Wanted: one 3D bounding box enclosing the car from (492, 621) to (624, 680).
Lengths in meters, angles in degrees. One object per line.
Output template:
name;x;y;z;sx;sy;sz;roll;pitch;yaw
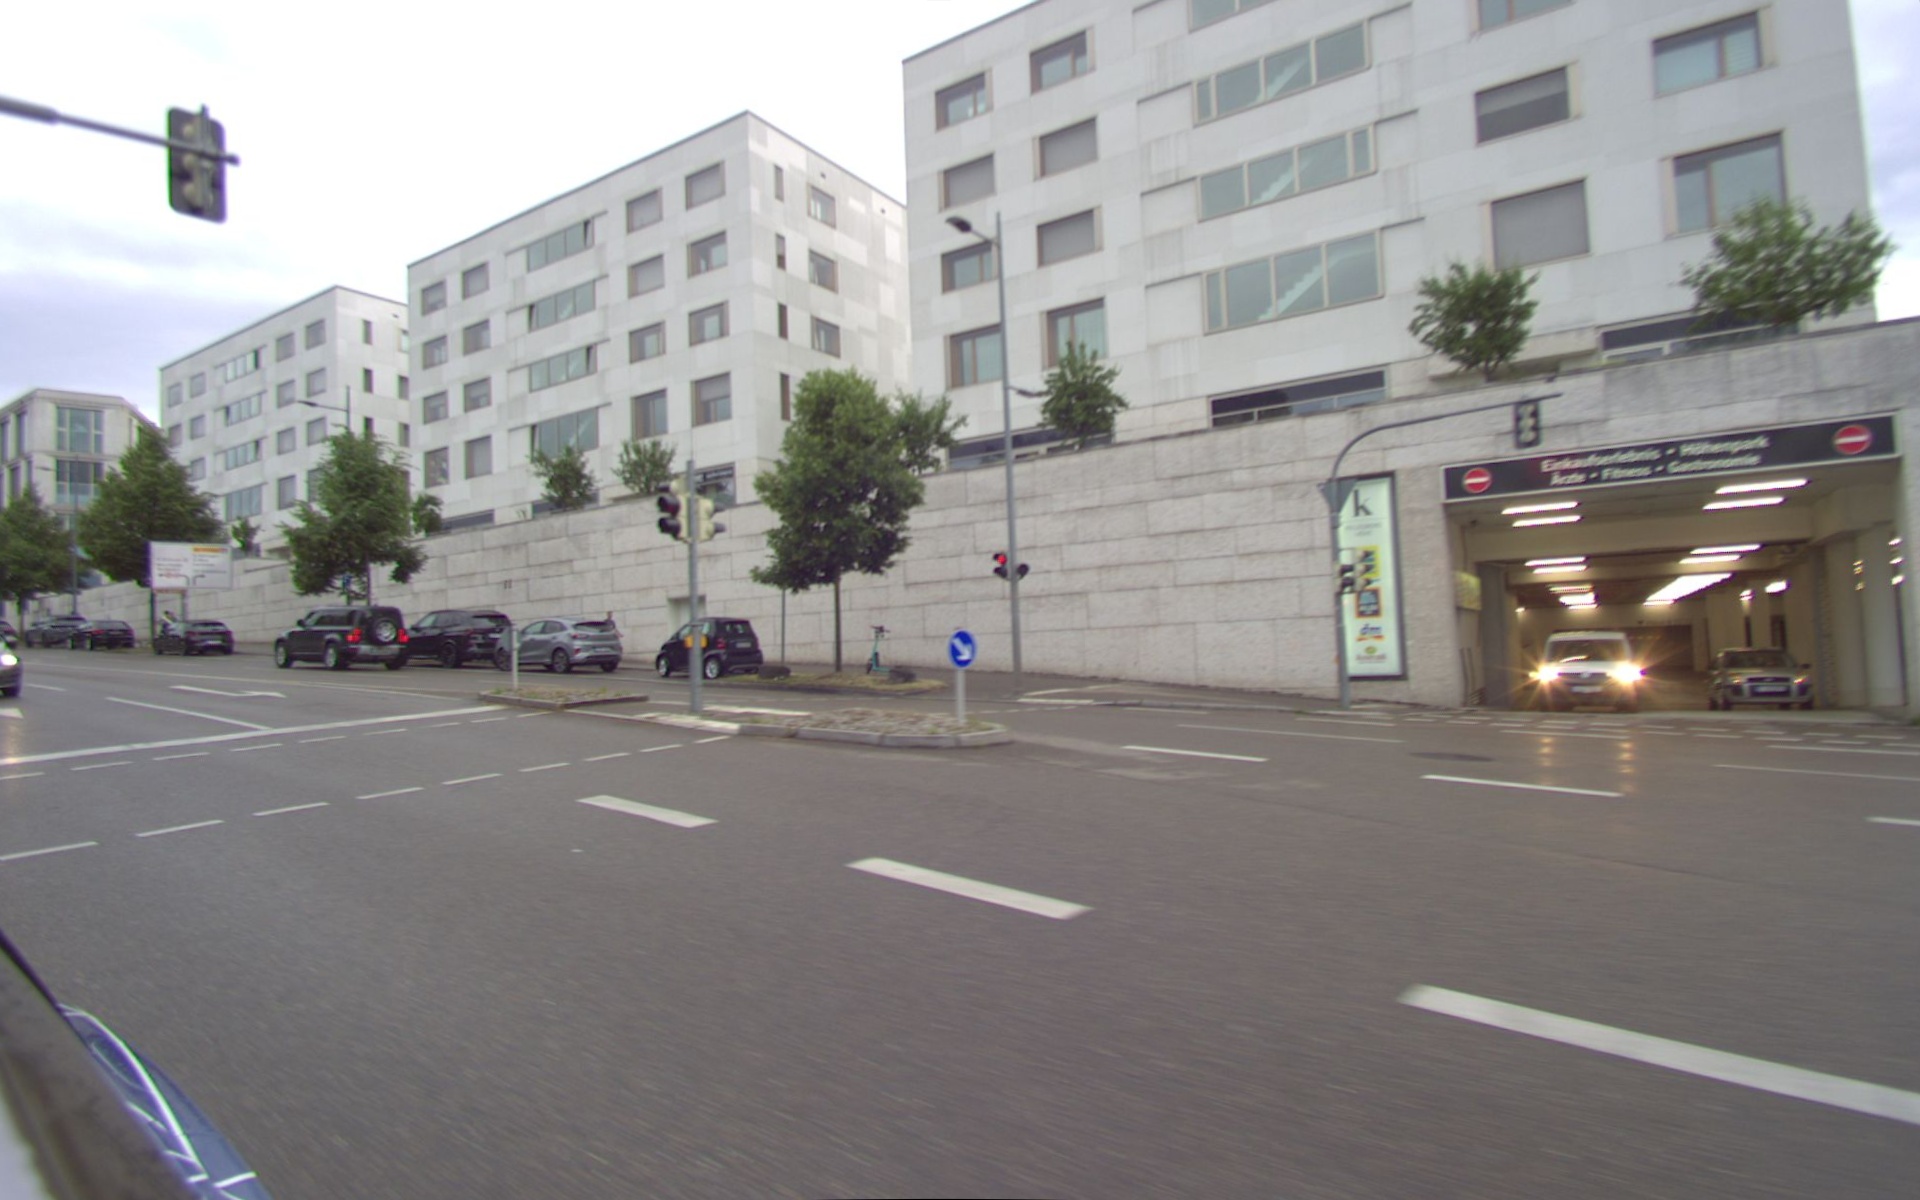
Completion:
car;-11.413;1.382;28.695;3.699;1.526;1.666;-1;0;33

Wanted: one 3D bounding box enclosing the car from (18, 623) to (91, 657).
car;-45.882;1.986;51.245;4.350;1.632;1.689;0;-1;34

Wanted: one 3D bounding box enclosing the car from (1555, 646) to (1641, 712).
car;18.072;2.274;28.826;1.927;1.718;3.958;-1;-6;30

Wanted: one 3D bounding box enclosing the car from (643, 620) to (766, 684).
car;-6.639;1.312;26.280;2.972;1.526;1.495;-1;0;34

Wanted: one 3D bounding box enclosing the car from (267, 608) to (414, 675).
car;-18.567;1.256;30.305;4.491;1.872;1.906;-1;-3;32

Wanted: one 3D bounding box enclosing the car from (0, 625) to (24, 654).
car;-47.464;1.914;49.340;4.178;1.391;1.756;-1;-2;33

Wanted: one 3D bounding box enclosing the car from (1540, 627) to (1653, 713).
car;14.032;1.445;22.398;1.921;1.684;4.467;-1;-2;32

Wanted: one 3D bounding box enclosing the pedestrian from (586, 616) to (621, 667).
pedestrian;-12.735;1.481;36.149;1.018;1.788;0.702;-1;-2;33

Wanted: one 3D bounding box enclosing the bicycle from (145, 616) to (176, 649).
bicycle;-42.057;1.688;53.249;1.875;1.669;0.736;0;1;34

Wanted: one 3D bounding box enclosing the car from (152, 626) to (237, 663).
car;-31.727;1.803;41.915;3.954;1.437;1.665;-1;0;34

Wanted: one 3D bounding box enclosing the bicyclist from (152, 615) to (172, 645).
bicyclist;-41.904;1.577;53.160;0.767;1.529;0.572;1;-1;33

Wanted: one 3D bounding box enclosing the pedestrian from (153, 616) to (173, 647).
pedestrian;-45.978;1.815;58.366;0.689;1.788;0.713;-2;-2;32

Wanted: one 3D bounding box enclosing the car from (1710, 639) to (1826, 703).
car;18.735;1.601;23.616;1.656;1.361;3.664;-1;-3;32

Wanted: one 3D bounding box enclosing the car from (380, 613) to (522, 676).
car;-15.909;1.342;31.590;4.581;1.794;1.843;-1;0;32

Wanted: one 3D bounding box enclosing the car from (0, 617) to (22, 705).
car;-18.330;1.049;18.083;3.998;1.450;1.880;1;-1;41

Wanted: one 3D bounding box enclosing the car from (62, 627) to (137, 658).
car;-41.007;2.004;48.208;4.152;1.370;1.681;-1;-2;34
